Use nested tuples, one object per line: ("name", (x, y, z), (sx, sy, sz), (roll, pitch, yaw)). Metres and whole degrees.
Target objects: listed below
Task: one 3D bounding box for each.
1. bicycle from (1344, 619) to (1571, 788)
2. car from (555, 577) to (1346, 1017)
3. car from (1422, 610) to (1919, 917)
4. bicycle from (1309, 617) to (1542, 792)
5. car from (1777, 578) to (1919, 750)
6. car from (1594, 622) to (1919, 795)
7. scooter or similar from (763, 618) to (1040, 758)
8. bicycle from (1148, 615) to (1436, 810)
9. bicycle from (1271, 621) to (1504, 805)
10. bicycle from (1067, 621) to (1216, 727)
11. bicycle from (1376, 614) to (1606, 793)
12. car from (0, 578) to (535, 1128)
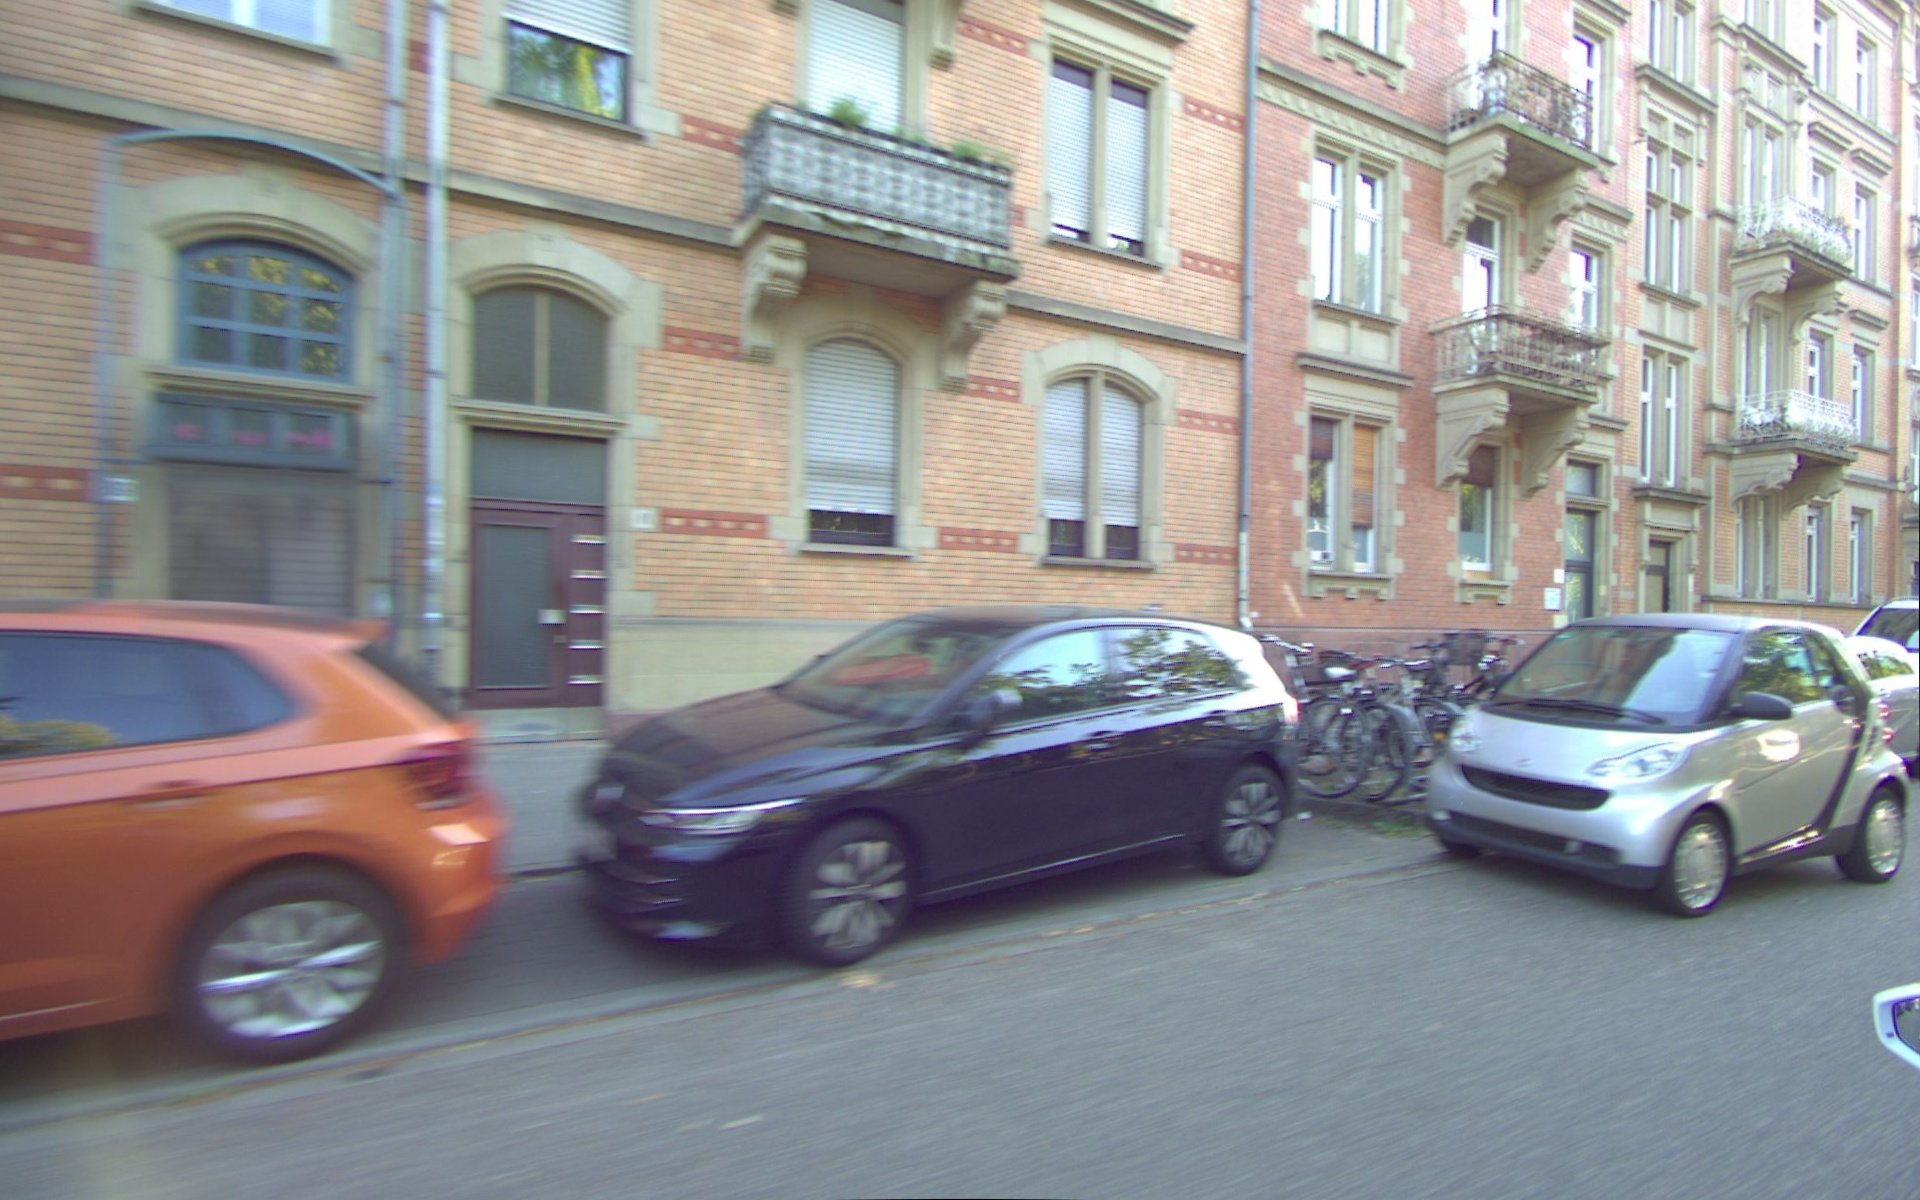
("bicycle", (4.153, 0.812, 8.537), (0.423, 1.231, 1.755), (3, 0, -29))
("car", (0.150, 0.740, 5.541), (4.112, 1.567, 1.734), (2, 1, -36))
("car", (4.343, 0.816, 6.101), (2.719, 1.454, 1.498), (1, -2, -29))
("bicycle", (3.744, 0.788, 8.234), (0.459, 1.231, 1.755), (3, 0, -29))
("car", (12.801, 0.836, 12.919), (4.984, 1.946, 1.983), (3, -1, -32))
("car", (8.564, 0.990, 10.368), (4.159, 1.473, 1.667), (1, -2, -30))
("scooter or similar", (-0.542, 0.866, 10.084), (2.673, 1.238, 0.779), (3, 0, -31))
("bicycle", (2.446, 0.780, 7.656), (0.439, 1.231, 2.067), (3, 0, -45))
("bicycle", (3.312, 0.824, 7.959), (0.436, 1.231, 1.755), (3, 0, -29))
("bicycle", (2.111, 0.856, 11.584), (1.746, 1.145, 0.425), (3, 0, -27))
("bicycle", (4.588, 0.838, 8.819), (0.490, 1.365, 1.755), (3, 0, -29))
("car", (-3.623, 0.686, 3.198), (3.956, 1.484, 1.744), (1, 2, -32))
